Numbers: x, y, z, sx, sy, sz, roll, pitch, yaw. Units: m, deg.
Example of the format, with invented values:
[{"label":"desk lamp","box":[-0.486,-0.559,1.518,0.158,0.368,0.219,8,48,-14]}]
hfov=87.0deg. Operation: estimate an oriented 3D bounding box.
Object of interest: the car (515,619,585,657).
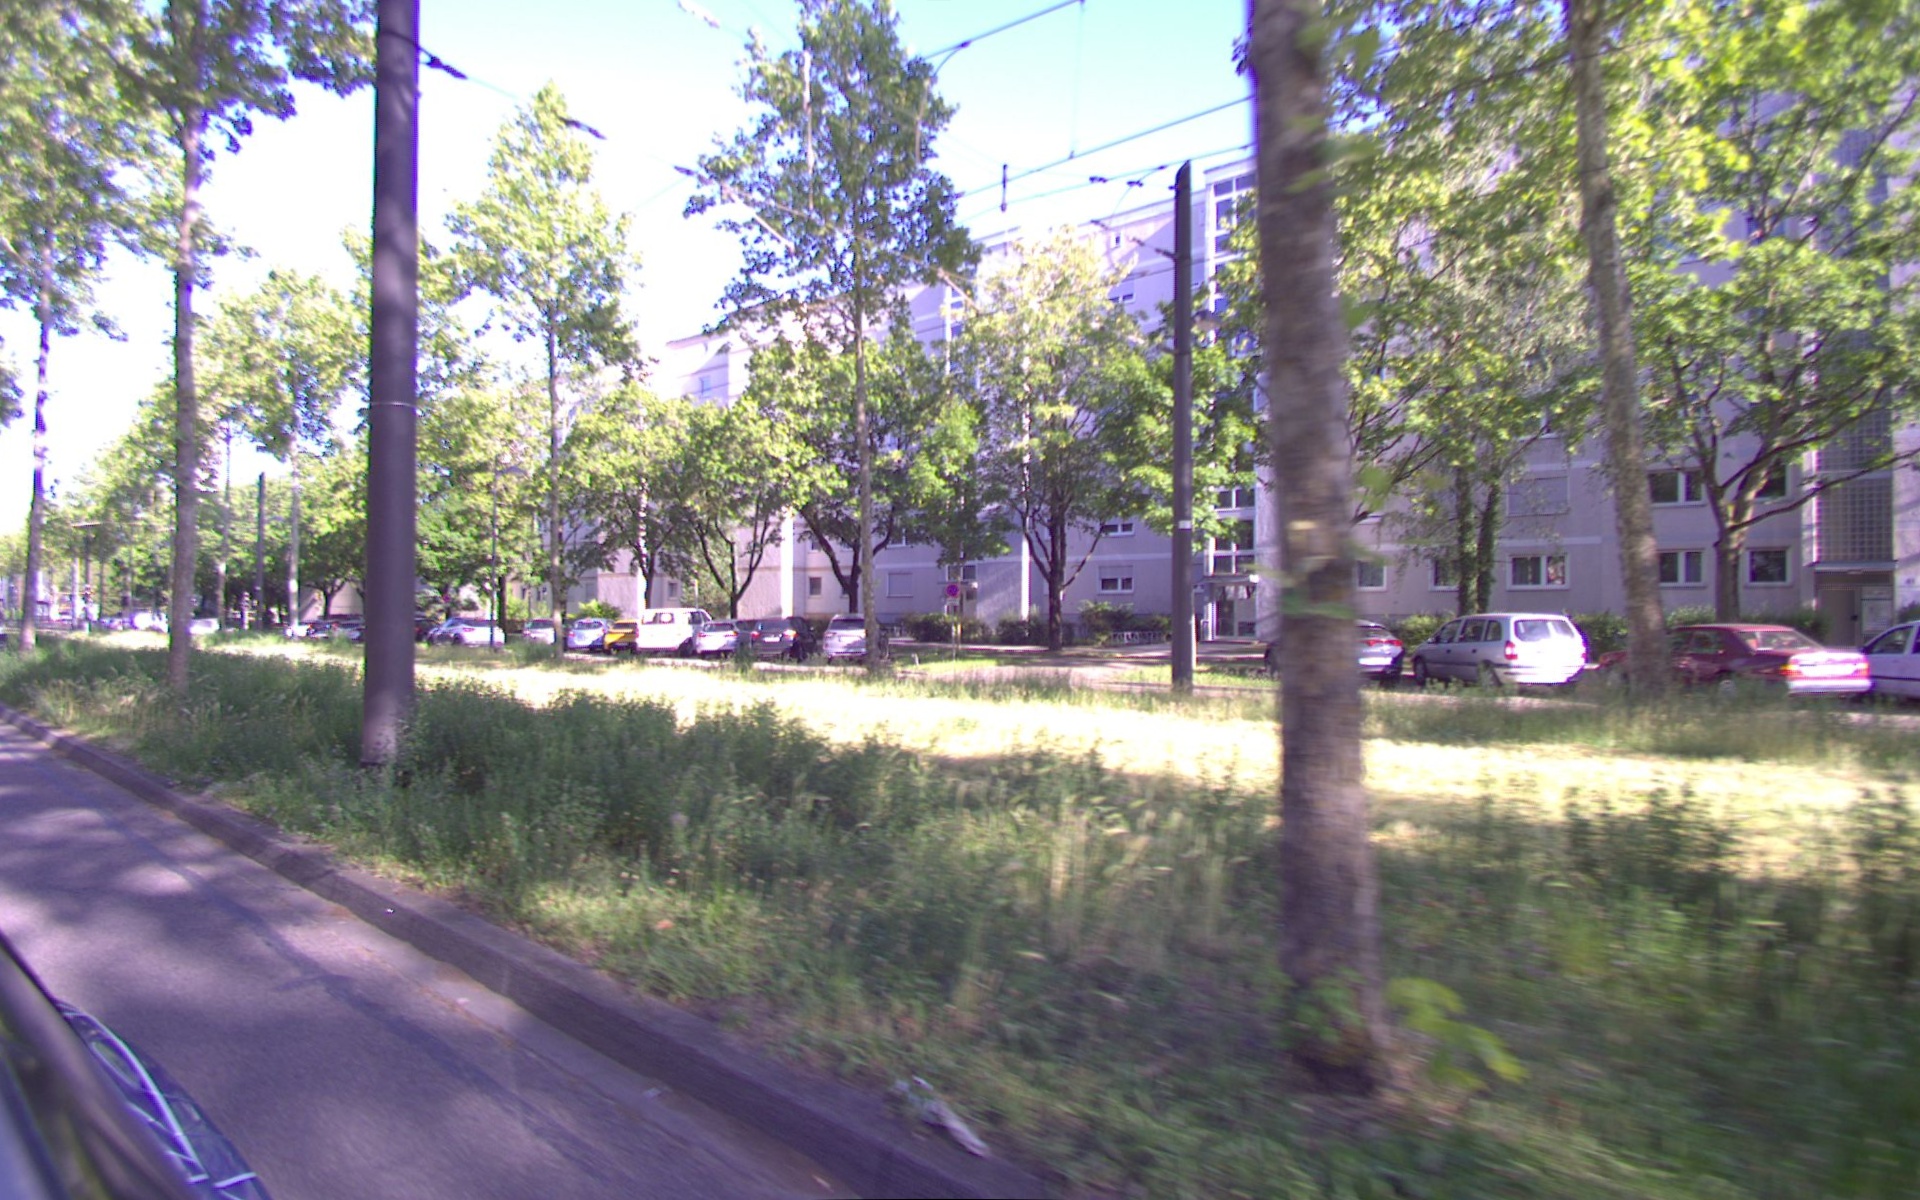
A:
[{"label":"car","box":[-18.953,1.723,46.976,1.628,1.658,4.085,-1,-1,-1]}]

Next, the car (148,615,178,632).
[{"label":"car","box":[-75.121,2.224,95.331,3.934,1.557,1.694,-2,-2,44]}]

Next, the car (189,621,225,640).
[{"label":"car","box":[-65.030,2.628,87.357,4.200,1.557,1.695,-1,-2,43]}]

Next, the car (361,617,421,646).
[{"label":"car","box":[-34.484,1.908,61.427,1.626,1.658,4.089,-2,-2,-5]}]

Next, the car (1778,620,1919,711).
[{"label":"car","box":[16.639,1.094,17.495,1.597,1.493,4.480,0,-1,5]}]

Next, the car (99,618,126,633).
[{"label":"car","box":[-92.371,2.758,110.289,3.928,1.648,1.577,-1,-2,41]}]

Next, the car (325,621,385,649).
[{"label":"car","box":[-37.818,2.188,63.402,1.626,1.658,4.091,2,-1,-6]}]

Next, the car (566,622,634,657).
[{"label":"car","box":[-16.178,1.738,45.691,1.628,1.494,4.085,0,-1,-1]}]

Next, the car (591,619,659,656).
[{"label":"car","box":[-14.193,1.569,43.065,1.557,1.443,4.085,2,-1,-1]}]

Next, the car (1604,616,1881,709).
[{"label":"car","box":[13.934,1.053,18.362,1.768,1.499,3.924,0,-1,-4]}]

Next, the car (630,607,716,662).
[{"label":"car","box":[-11.324,1.330,40.275,1.867,2.022,4.794,-1,-1,3]}]

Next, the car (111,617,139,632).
[{"label":"car","box":[-87.103,2.566,105.590,4.017,1.500,1.577,-1,-2,41]}]

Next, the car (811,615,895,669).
[{"label":"car","box":[-3.481,1.354,33.552,1.970,1.619,4.078,2,-1,5]}]

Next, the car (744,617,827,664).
[{"label":"car","box":[-6.137,1.416,36.061,1.796,1.542,4.076,-2,-2,7]}]

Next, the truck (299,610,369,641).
[{"label":"truck","box":[-40.598,1.619,65.706,1.631,1.788,4.078,5,0,5]}]

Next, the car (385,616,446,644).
[{"label":"car","box":[-31.714,1.741,59.080,1.626,1.487,4.090,-4,-1,-6]}]

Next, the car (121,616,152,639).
[{"label":"car","box":[-83.479,2.756,102.572,3.931,2.279,1.696,-1,-2,41]}]

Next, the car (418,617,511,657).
[{"label":"car","box":[-20.390,1.499,41.569,4.082,1.518,1.904,-1,-4,40]}]

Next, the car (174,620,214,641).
[{"label":"car","box":[-57.149,2.247,75.507,3.848,1.497,1.629,0,-2,41]}]

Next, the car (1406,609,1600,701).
[{"label":"car","box":[11.195,1.082,21.226,1.761,1.688,3.980,-2,-1,-2]}]

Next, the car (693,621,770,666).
[{"label":"car","box":[-8.650,1.613,38.619,1.560,1.443,4.076,-2,1,7]}]

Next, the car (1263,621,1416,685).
[{"label":"car","box":[8.597,1.162,23.321,1.769,1.348,4.134,0,-1,-3]}]

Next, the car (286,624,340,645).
[{"label":"car","box":[-45.573,2.439,71.351,1.811,1.446,3.832,0,-2,-8]}]
